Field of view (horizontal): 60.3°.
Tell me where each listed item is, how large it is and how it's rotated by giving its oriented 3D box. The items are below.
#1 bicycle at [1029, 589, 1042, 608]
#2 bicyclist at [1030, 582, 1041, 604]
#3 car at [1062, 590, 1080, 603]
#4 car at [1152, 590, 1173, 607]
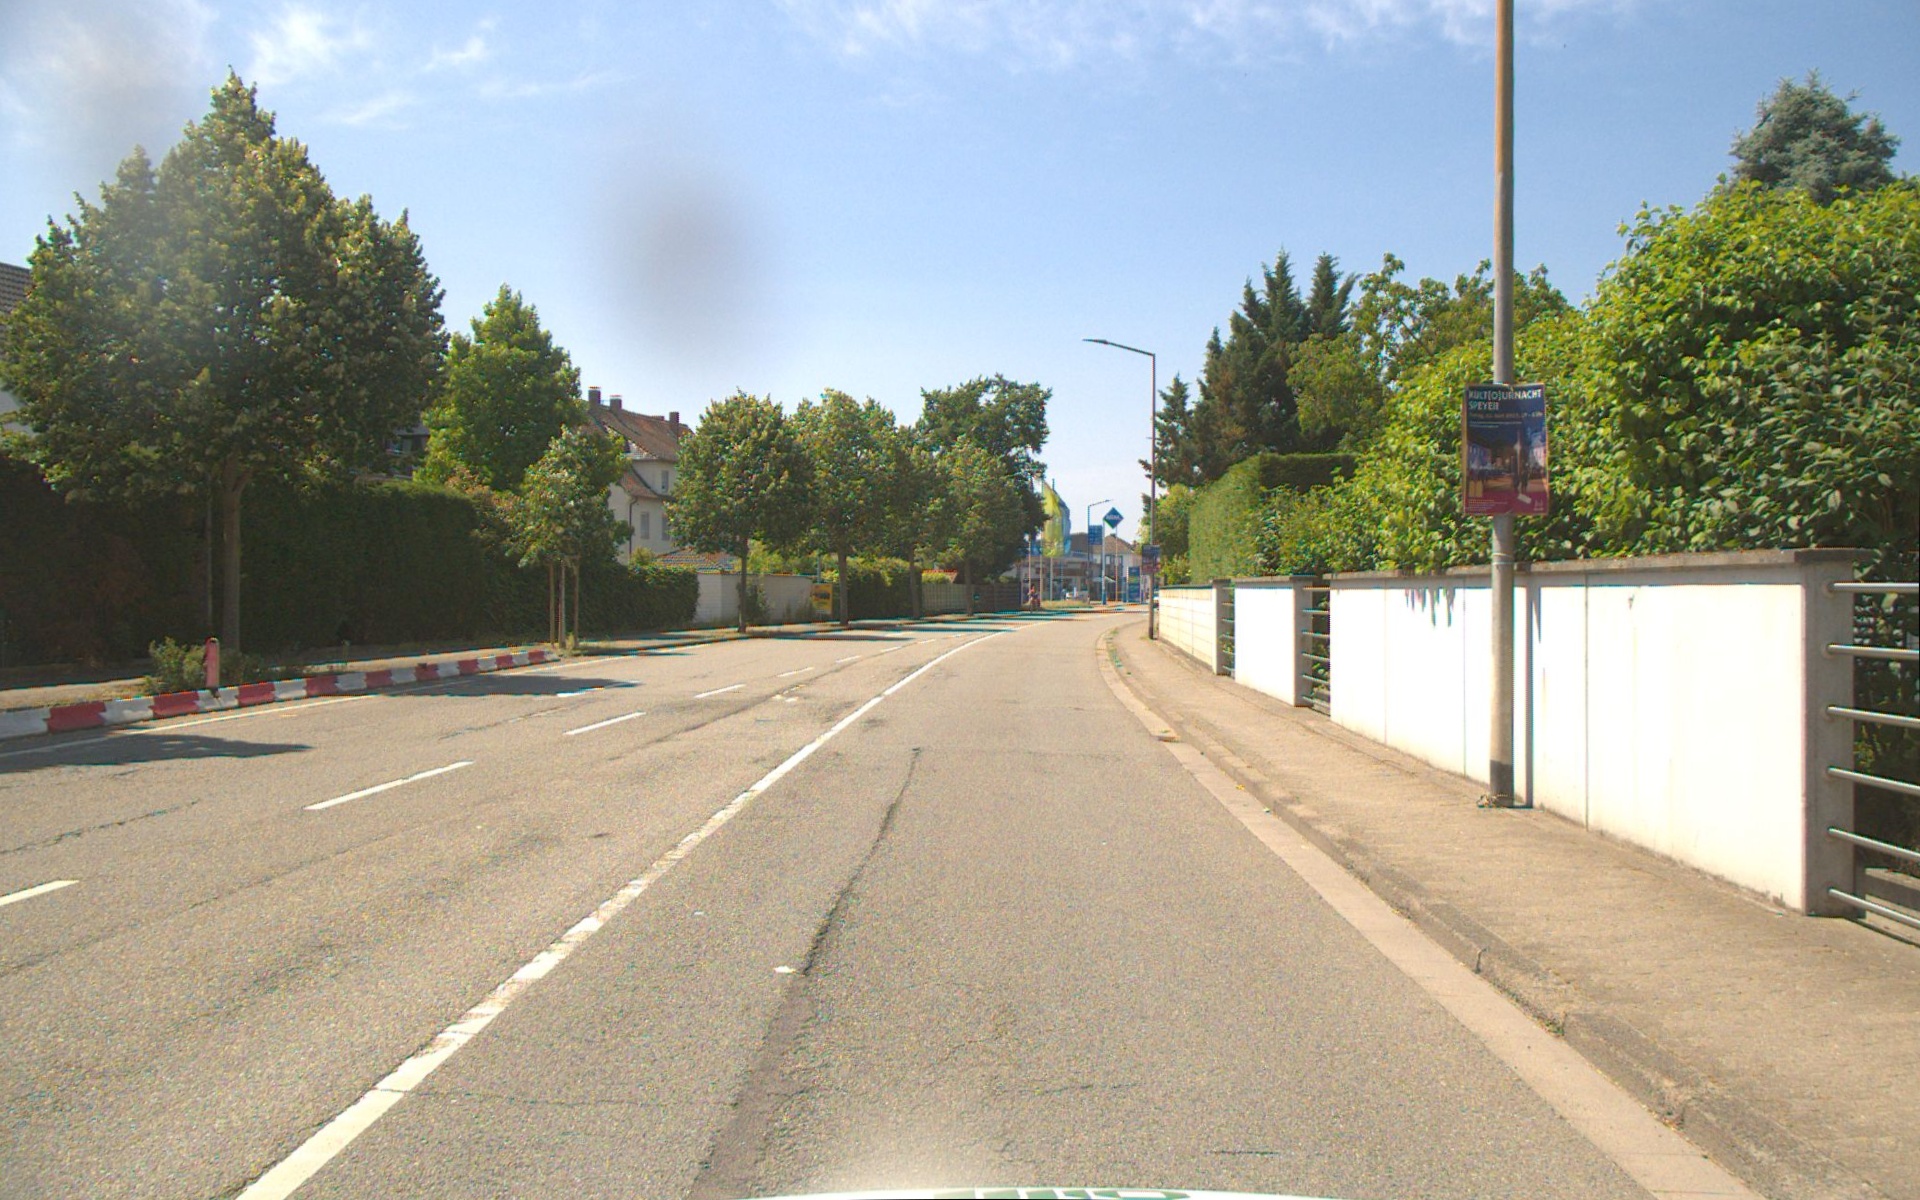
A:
[{"bbox_3d":[4.846,-0.091,105.843,0.618,1.200,1.817,0,0,10],"label":"bicycle"},{"bbox_3d":[4.857,-0.446,105.874,0.615,1.433,0.677,0,0,10],"label":"bicyclist"},{"bbox_3d":[12.829,-0.442,191.152,1.582,1.445,3.715,-2,0,10],"label":"car"},{"bbox_3d":[18.390,-0.168,150.273,1.577,1.508,3.711,0,1,11],"label":"car"}]
